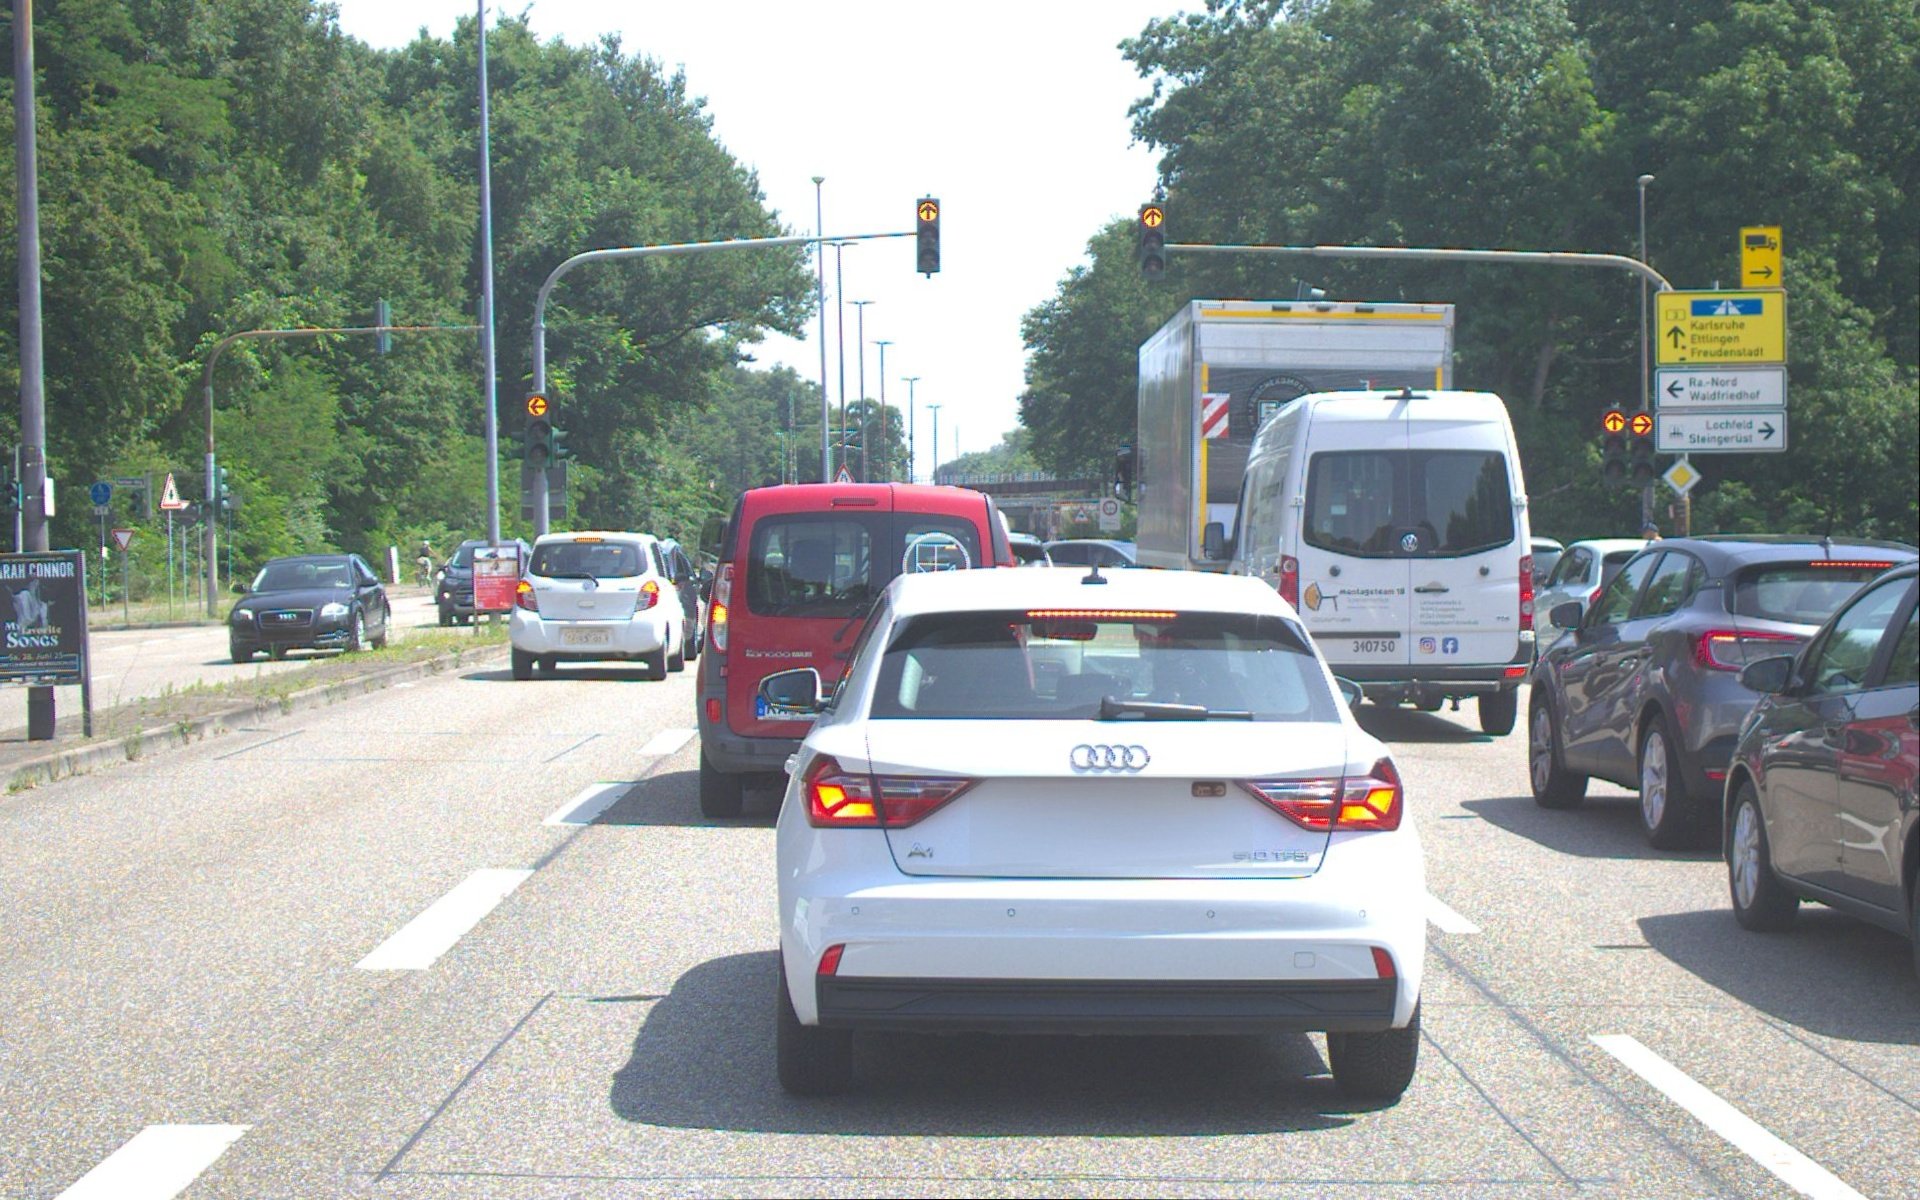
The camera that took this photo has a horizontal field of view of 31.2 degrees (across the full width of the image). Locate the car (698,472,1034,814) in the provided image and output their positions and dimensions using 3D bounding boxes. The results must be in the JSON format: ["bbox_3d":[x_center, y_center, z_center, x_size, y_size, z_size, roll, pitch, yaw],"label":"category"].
[{"bbox_3d":[-0.543,0.182,19.613,1.711,1.742,4.092,0,1,-2],"label":"car"}]

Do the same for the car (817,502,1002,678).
[{"bbox_3d":[-0.534,-0.131,34.019,1.711,1.626,4.092,0,1,-2],"label":"car"}]

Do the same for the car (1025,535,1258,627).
[{"bbox_3d":[3.428,-0.357,65.220,3.994,1.683,1.875,0,1,34],"label":"car"}]

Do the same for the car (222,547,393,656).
[{"bbox_3d":[-9.044,-0.010,47.917,1.678,1.335,4.001,-3,1,-2],"label":"car"}]

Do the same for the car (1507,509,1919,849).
[{"bbox_3d":[4.133,0.329,18.132,1.711,1.587,4.092,0,1,-2],"label":"car"}]

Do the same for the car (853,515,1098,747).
[{"bbox_3d":[0.046,0.178,26.189,1.711,1.626,4.092,0,1,-2],"label":"car"}]

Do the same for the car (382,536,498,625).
[{"bbox_3d":[-10.114,-0.406,67.110,1.686,1.594,3.885,-3,1,-2],"label":"car"}]

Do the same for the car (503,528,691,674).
[{"bbox_3d":[-3.856,-0.029,37.032,1.711,1.487,4.092,0,1,-2],"label":"car"}]

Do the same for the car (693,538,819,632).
[{"bbox_3d":[-4.601,-0.363,77.032,1.993,2.007,4.001,-1,1,-15],"label":"car"}]

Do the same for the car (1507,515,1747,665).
[{"bbox_3d":[7.234,-0.144,37.642,1.711,1.541,4.092,0,1,-2],"label":"car"}]

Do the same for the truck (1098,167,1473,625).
[{"bbox_3d":[3.399,-2.106,39.280,3.088,4.418,11.581,1,1,0],"label":"truck"}]

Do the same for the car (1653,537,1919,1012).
[{"bbox_3d":[3.827,0.558,12.220,1.712,1.473,4.092,3,1,-2],"label":"car"}]

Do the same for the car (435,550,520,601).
[{"bbox_3d":[-13.103,-0.683,93.577,1.718,1.258,4.302,-3,1,-1],"label":"car"}]

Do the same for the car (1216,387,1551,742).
[{"bbox_3d":[3.332,-0.312,27.995,2.031,2.635,4.845,0,1,-1],"label":"car"}]

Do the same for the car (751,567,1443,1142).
[{"bbox_3d":[0.277,0.613,10.570,1.711,1.381,4.092,0,1,-2],"label":"car"}]
